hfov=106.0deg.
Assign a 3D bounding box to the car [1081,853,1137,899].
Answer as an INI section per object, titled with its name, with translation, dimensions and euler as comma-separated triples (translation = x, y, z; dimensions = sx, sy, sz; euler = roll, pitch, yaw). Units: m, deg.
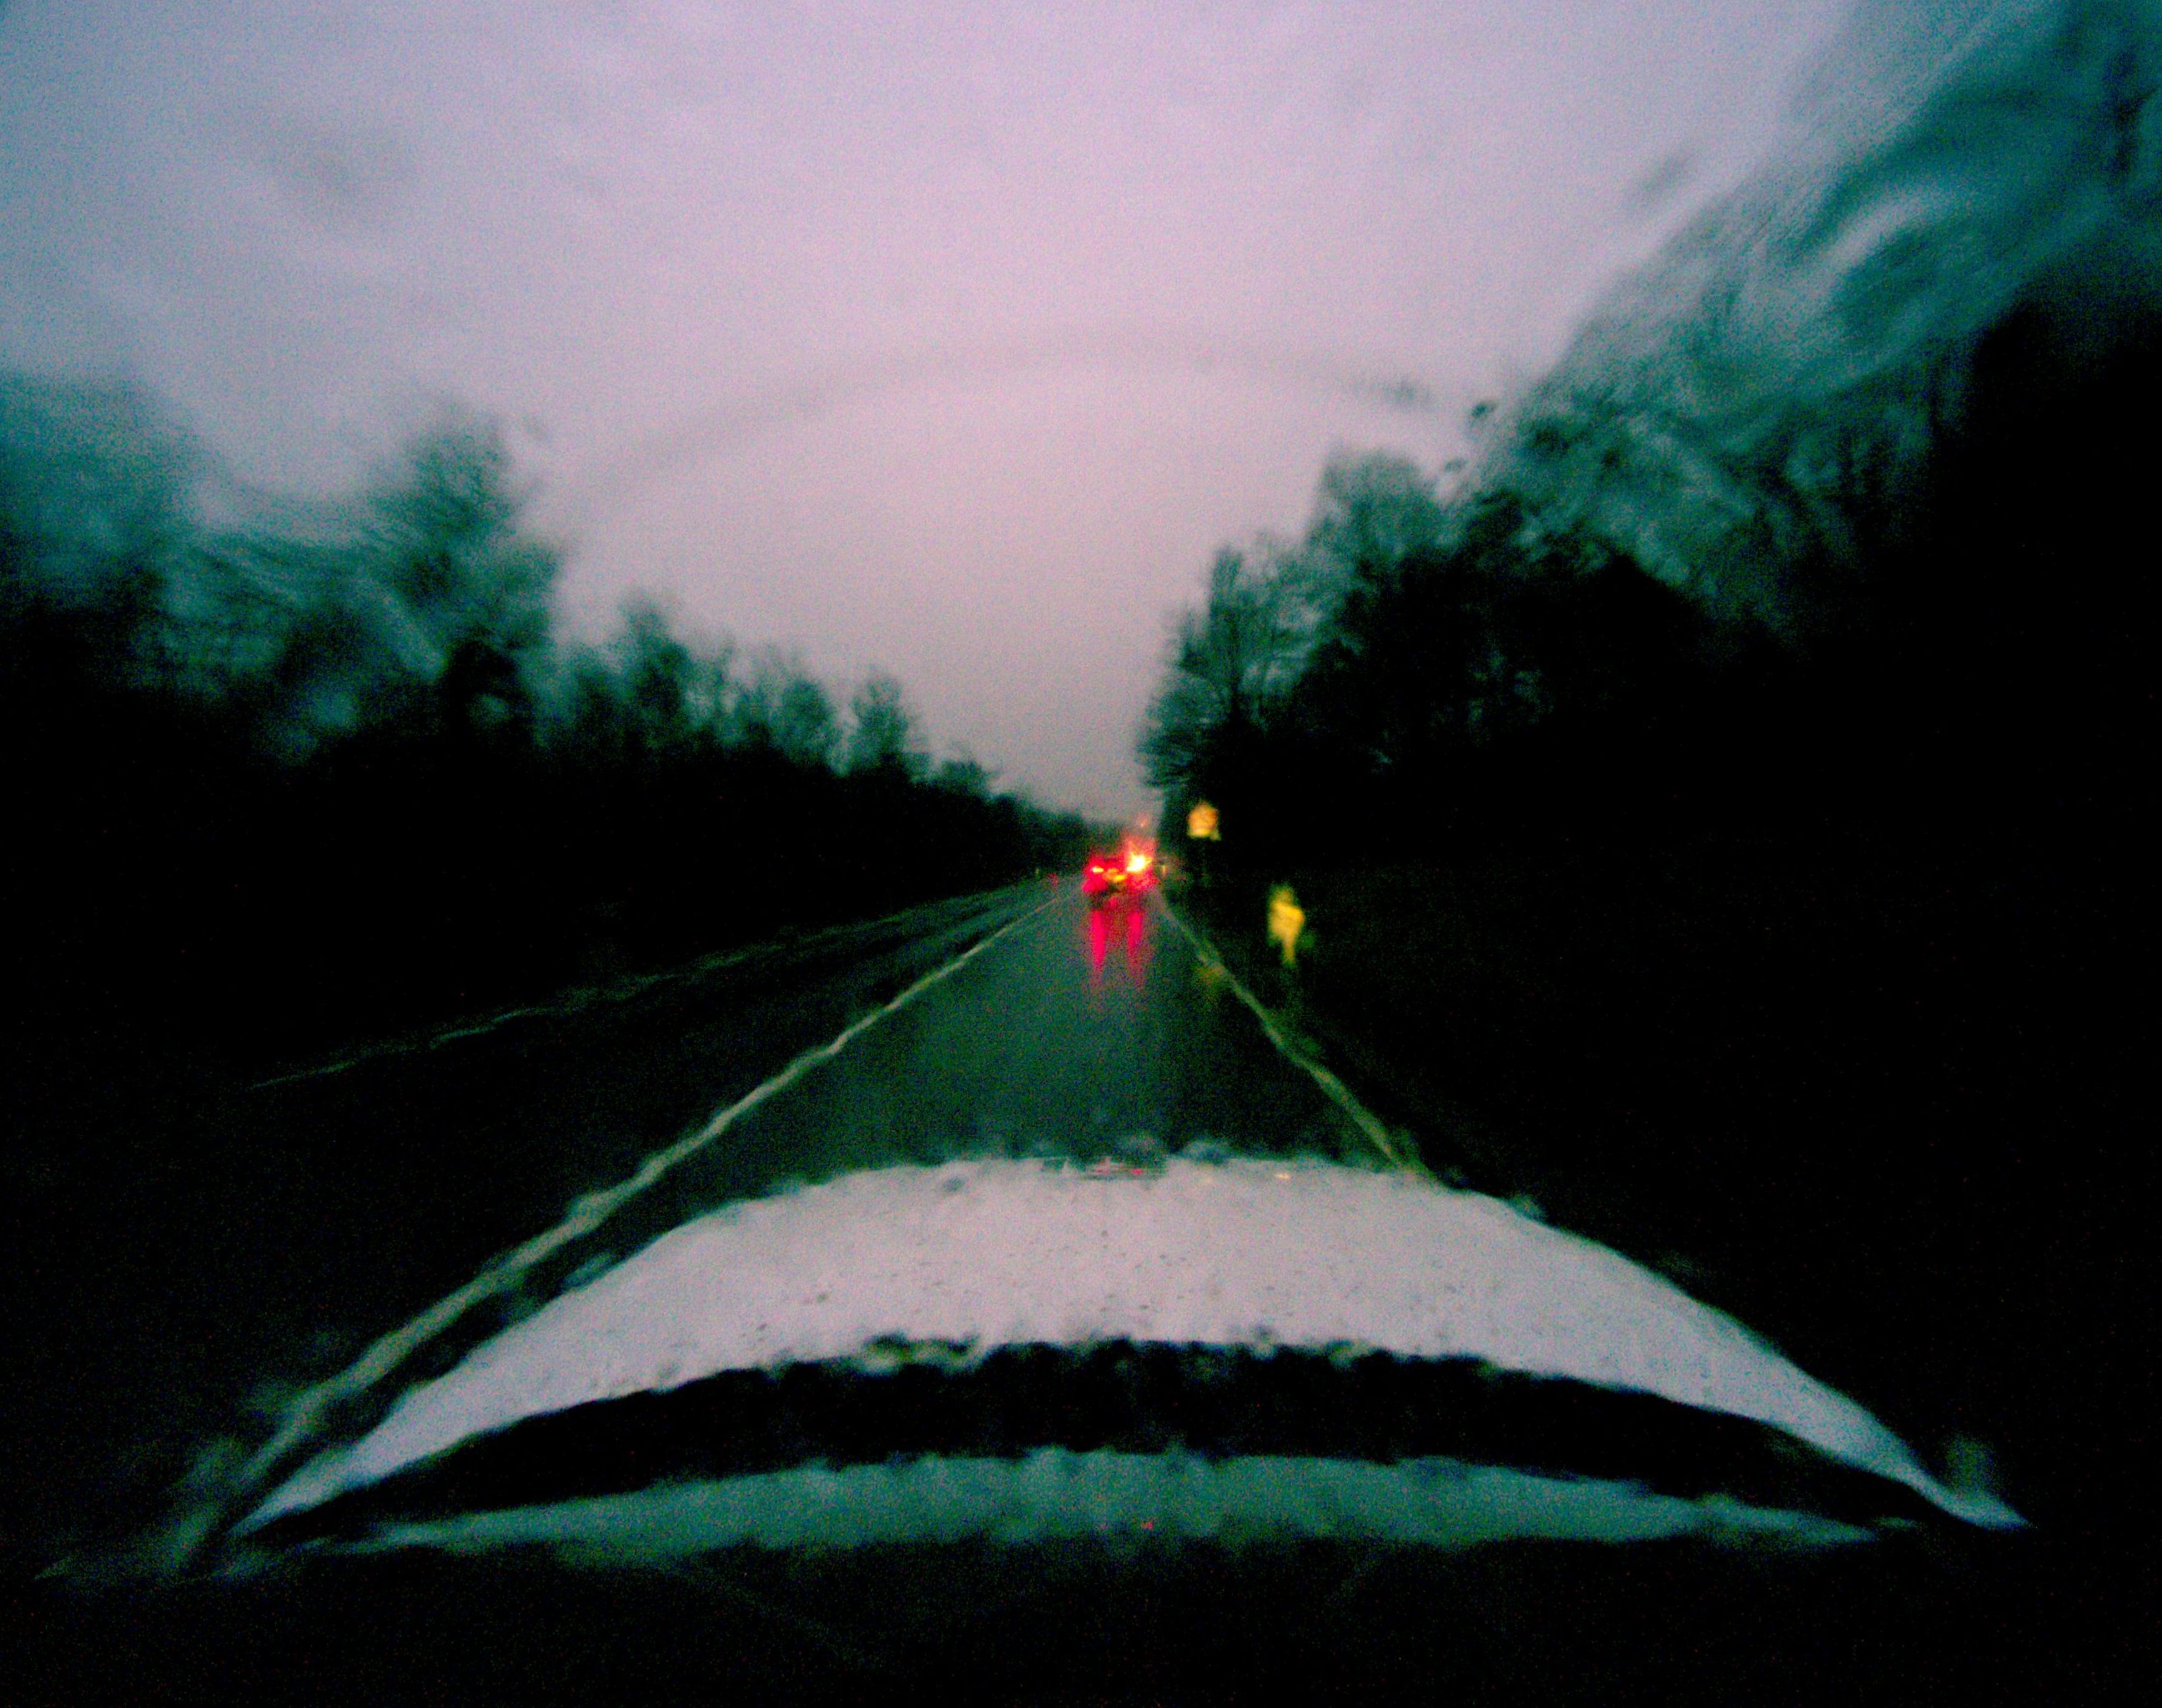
[car]
translation = 1.055, 0.702, 28.479
dimensions = 1.671, 1.389, 4.103
euler = -4, 0, 5
